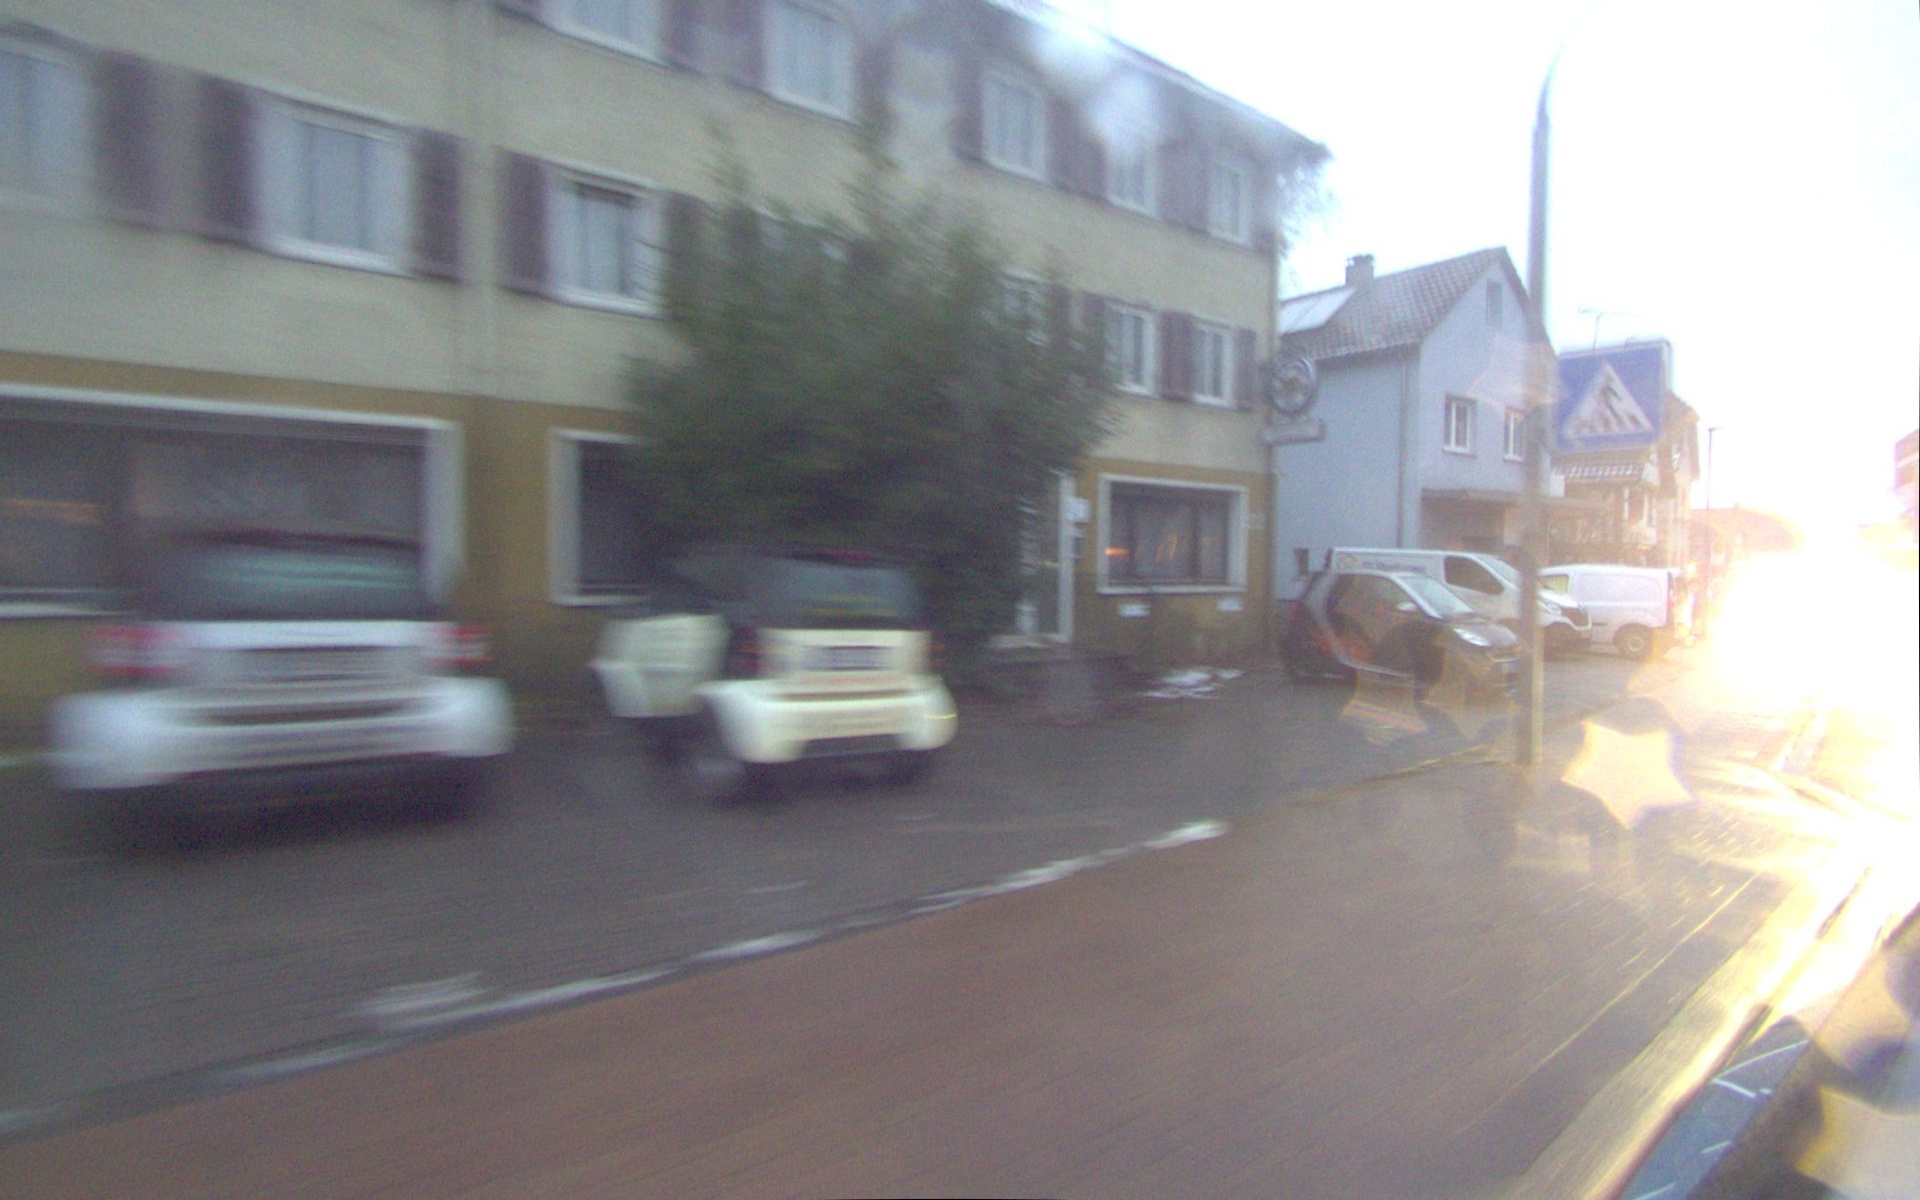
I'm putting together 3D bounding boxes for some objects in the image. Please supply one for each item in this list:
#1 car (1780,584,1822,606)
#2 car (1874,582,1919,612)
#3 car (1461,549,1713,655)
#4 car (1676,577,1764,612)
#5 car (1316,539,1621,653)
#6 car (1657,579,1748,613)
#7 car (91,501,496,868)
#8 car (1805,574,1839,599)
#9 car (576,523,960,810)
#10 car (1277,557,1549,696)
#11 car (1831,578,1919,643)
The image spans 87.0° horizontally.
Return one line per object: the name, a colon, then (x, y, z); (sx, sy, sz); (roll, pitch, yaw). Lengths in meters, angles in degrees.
car: (57.669, -0.373, 69.450); (1.891, 1.484, 3.949); (0, 0, 36)
car: (53.766, -0.180, 57.884); (1.891, 1.637, 3.774); (0, 0, 38)
car: (12.819, -0.046, 20.857); (1.833, 1.865, 4.047); (-1, 4, -44)
car: (44.033, -0.362, 58.729); (3.862, 1.900, 1.848); (2, 1, 33)
car: (9.875, -0.177, 20.055); (1.902, 1.912, 4.993); (0, 3, -40)
car: (40.202, -0.233, 54.908); (3.827, 1.648, 1.592); (3, 2, 34)
car: (-3.827, 0.262, 5.798); (1.521, 1.492, 3.075); (0, 3, -37)
car: (72.047, -1.096, 84.614); (1.827, 2.039, 3.652); (0, 0, 36)
car: (-1.429, 0.298, 6.996); (1.523, 1.566, 2.589); (1, 2, -40)
car: (5.622, 0.249, 12.762); (1.401, 1.492, 2.770); (0, 3, -39)
car: (25.113, 0.256, 27.419); (1.913, 1.638, 3.819); (0, 0, 35)
